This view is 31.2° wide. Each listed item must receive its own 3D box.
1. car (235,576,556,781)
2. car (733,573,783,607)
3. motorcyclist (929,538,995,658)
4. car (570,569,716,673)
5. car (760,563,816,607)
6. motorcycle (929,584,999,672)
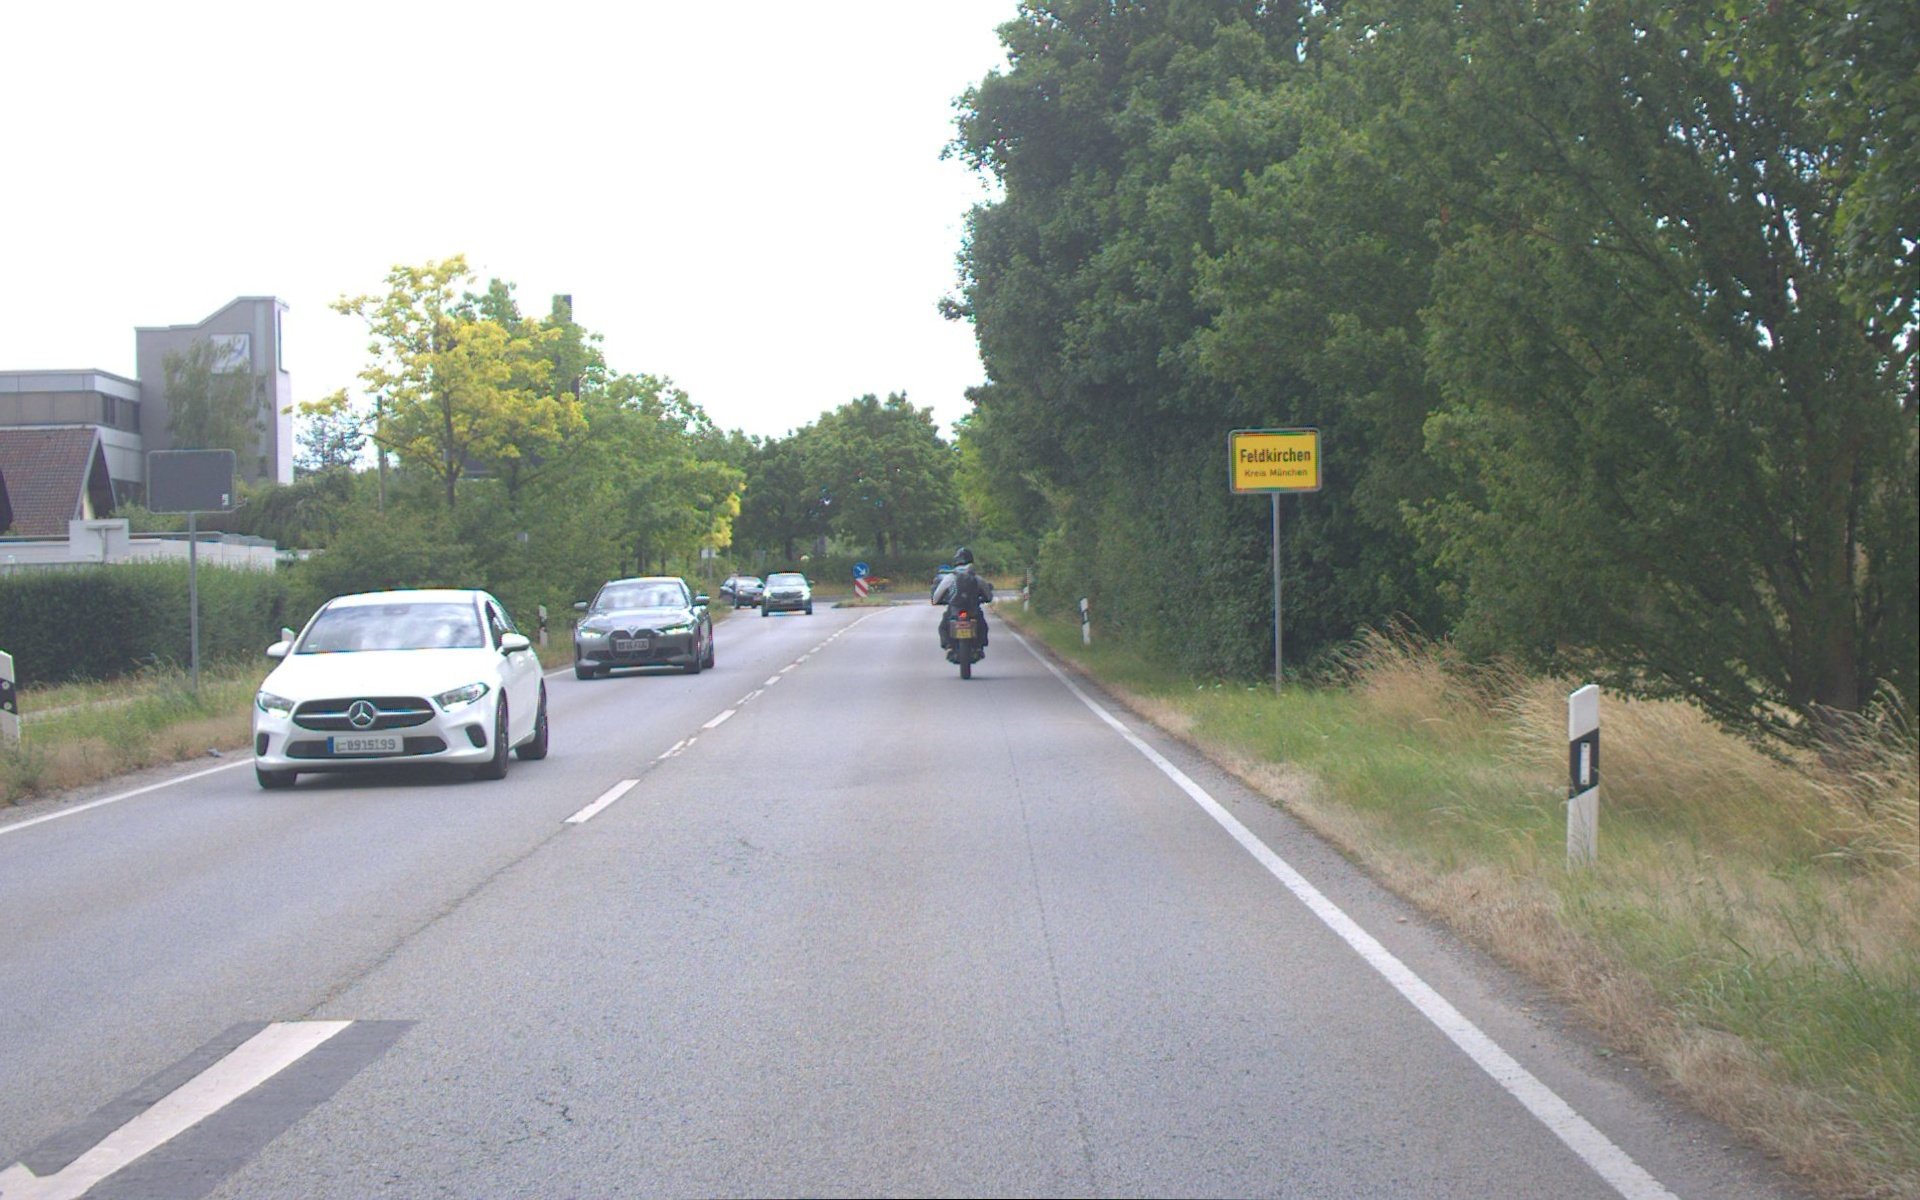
[{"bbox_3d":[-4.231,0.541,26.346,1.773,1.368,4.100,-3,0,-1],"label":"car"},{"bbox_3d":[-8.920,-0.430,151.368,1.676,1.407,4.013,-3,1,-10],"label":"car"},{"bbox_3d":[0.023,-0.037,47.236,0.861,1.618,1.191,-1,0,-1],"label":"motorcyclist"},{"bbox_3d":[-4.759,0.283,52.131,1.852,1.459,4.371,-2,1,-1],"label":"car"},{"bbox_3d":[-6.120,-0.552,122.812,1.815,1.489,4.204,-2,1,-1],"label":"car"},{"bbox_3d":[0.038,0.369,47.141,0.896,1.154,2.620,-1,1,-1],"label":"motorcycle"}]
